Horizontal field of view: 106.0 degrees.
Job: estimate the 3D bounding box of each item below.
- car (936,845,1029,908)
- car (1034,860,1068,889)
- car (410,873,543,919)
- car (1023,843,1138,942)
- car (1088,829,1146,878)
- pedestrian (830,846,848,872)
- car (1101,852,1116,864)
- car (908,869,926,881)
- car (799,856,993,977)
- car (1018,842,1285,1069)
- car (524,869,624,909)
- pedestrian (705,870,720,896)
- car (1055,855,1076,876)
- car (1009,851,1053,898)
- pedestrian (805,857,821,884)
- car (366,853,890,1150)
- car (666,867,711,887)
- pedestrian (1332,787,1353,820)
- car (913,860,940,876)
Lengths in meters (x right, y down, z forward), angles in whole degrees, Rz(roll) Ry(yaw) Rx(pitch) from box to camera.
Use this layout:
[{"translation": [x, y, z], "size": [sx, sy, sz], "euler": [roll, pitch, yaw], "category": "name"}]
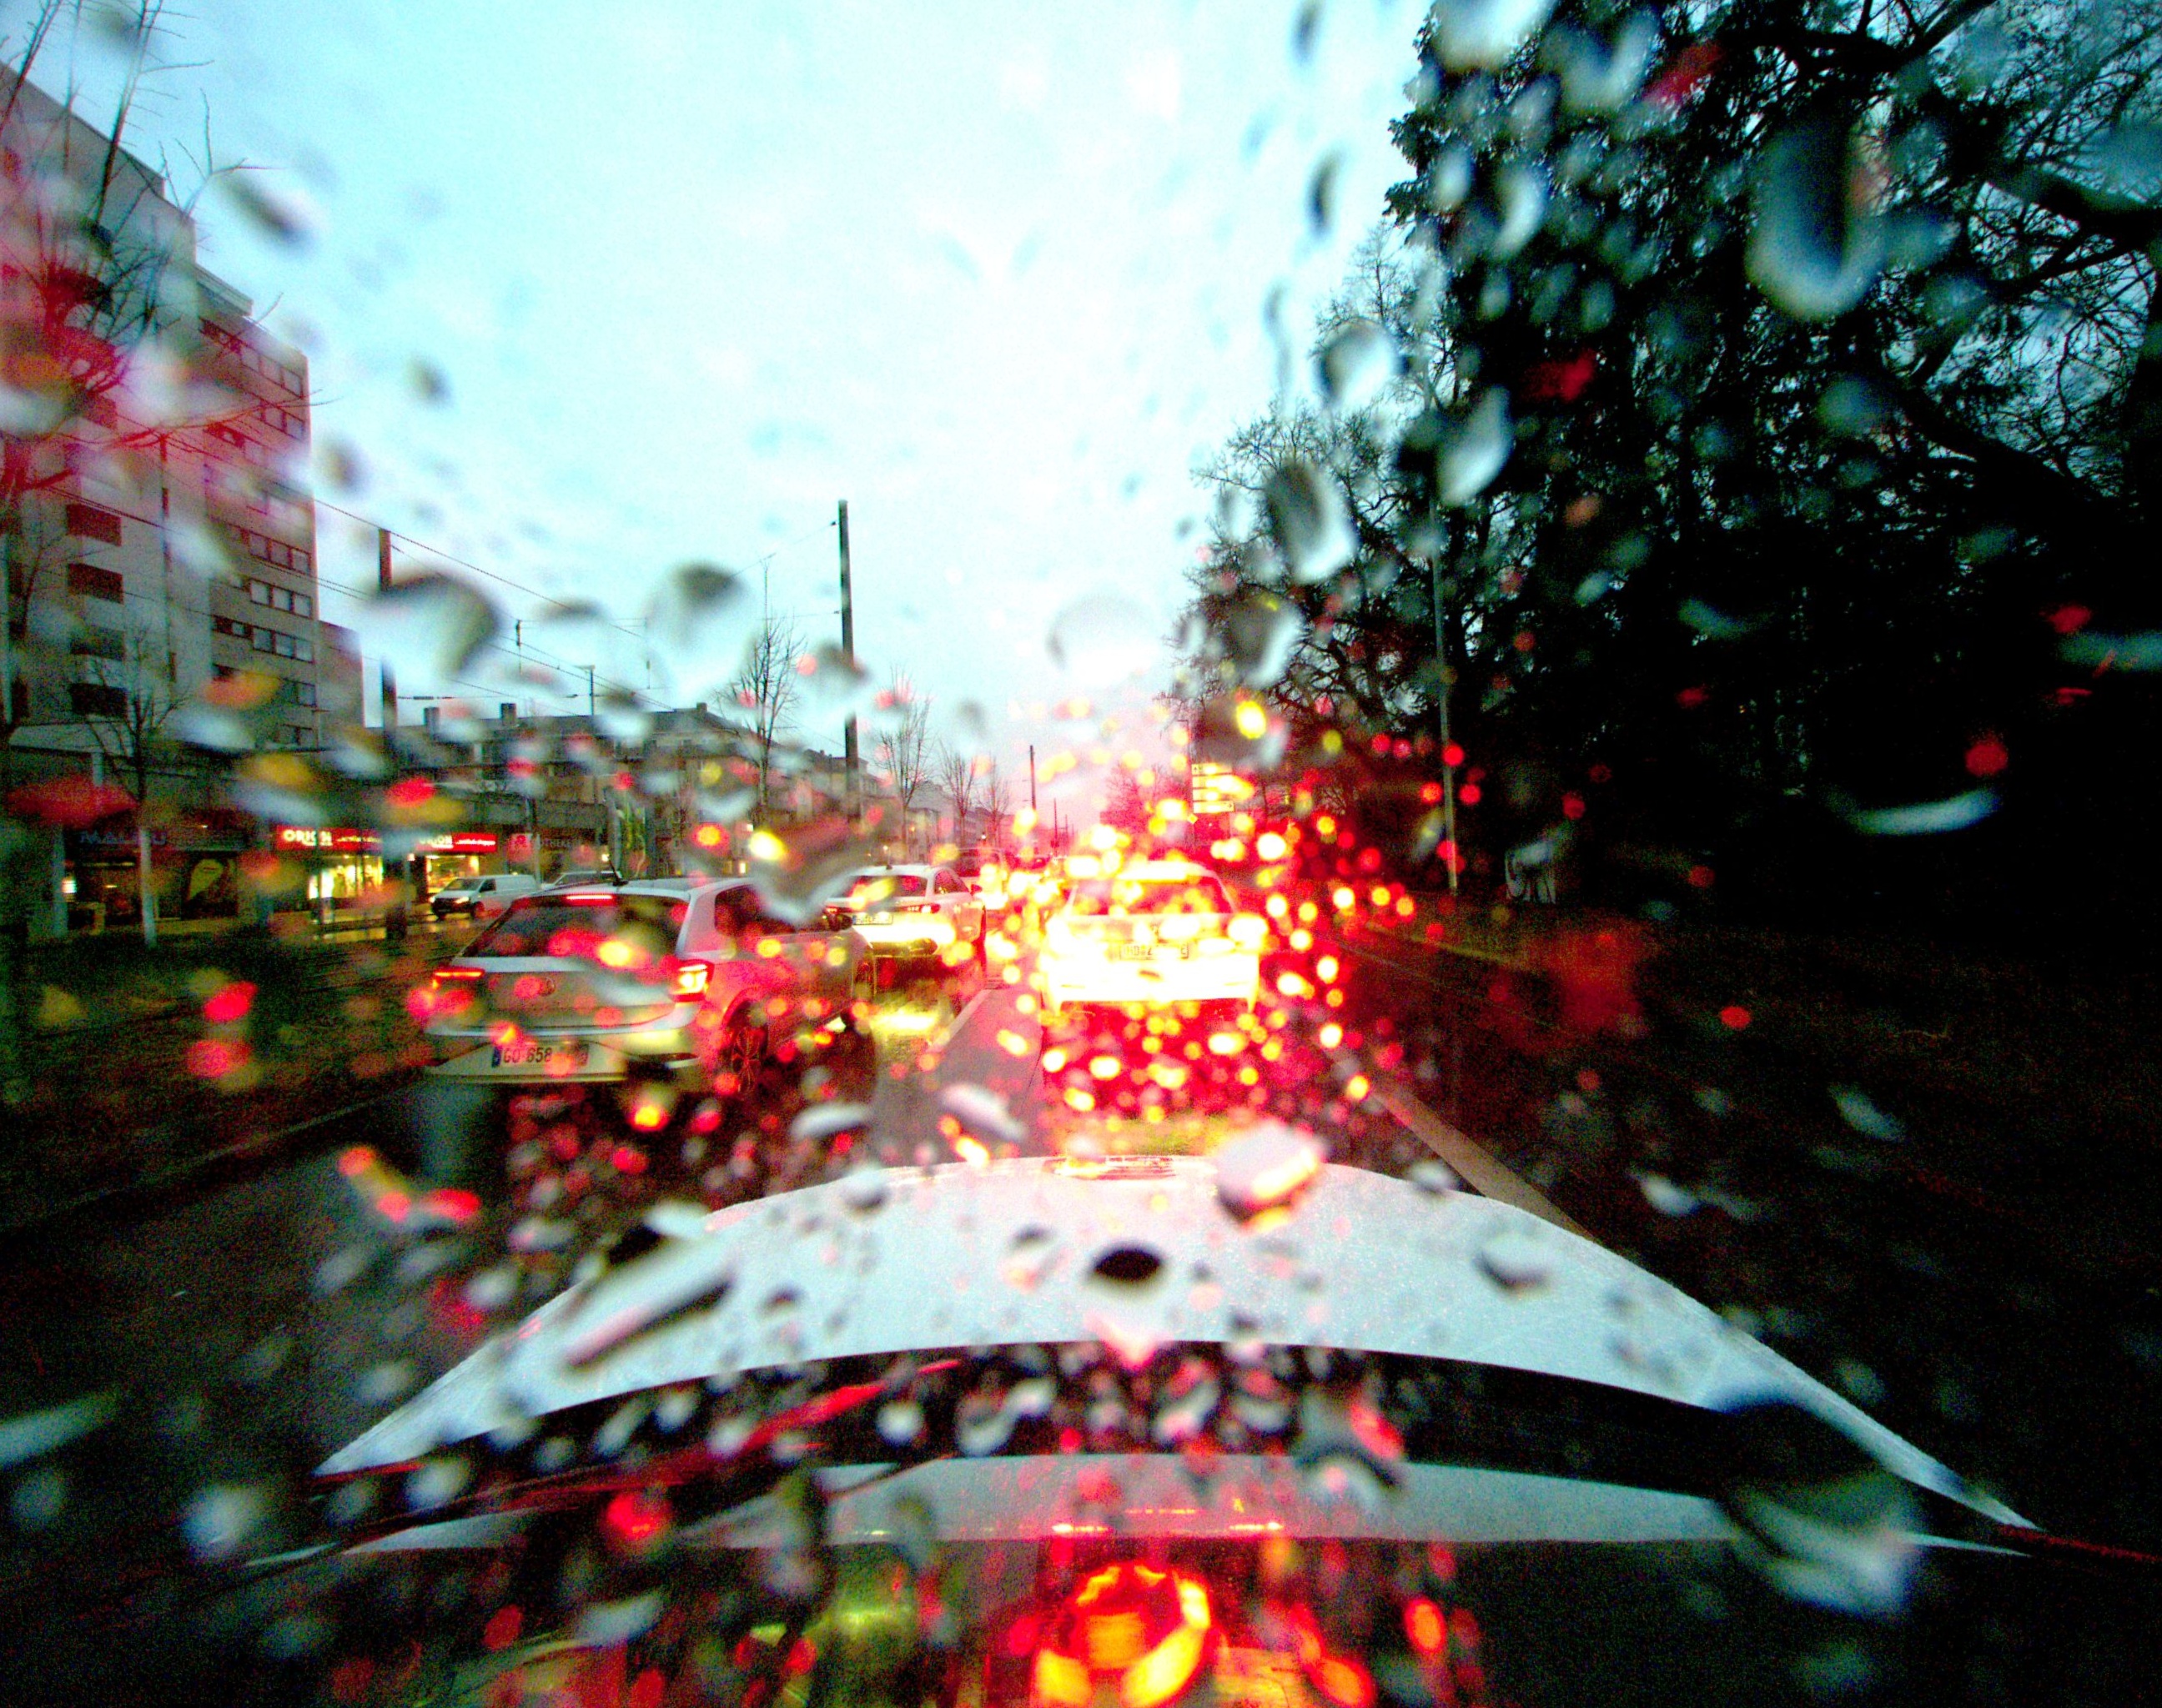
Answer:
[{"translation": [-2.483, 0.533, 21.606], "size": [1.731, 1.419, 4.395], "euler": [-3, 0, 2], "category": "car"}, {"translation": [-1.418, 0.967, 39.072], "size": [1.357, 1.316, 2.718], "euler": [0, -1, 3], "category": "car"}, {"translation": [-29.713, 1.998, 40.319], "size": [1.983, 2.046, 5.575], "euler": [0, -1, 6], "category": "car"}, {"translation": [0.051, 0.624, 15.008], "size": [1.793, 1.511, 3.897], "euler": [-2, 0, 2], "category": "car"}, {"translation": [1.156, -0.019, 26.659], "size": [1.731, 1.419, 3.704], "euler": [-3, 0, 2], "category": "car"}, {"translation": [-19.366, 0.427, 65.152], "size": [1.274, 2.013, 1.000], "euler": [-2, 0, -23], "category": "pedestrian"}, {"translation": [3.436, 0.484, 102.515], "size": [1.731, 1.419, 4.147], "euler": [-3, 0, 2], "category": "car"}, {"translation": [-19.856, 2.530, 98.736], "size": [1.688, 1.277, 4.141], "euler": [-2, 0, -4], "category": "car"}, {"translation": [-2.625, 0.812, 12.759], "size": [1.792, 1.466, 4.587], "euler": [-3, 0, 2], "category": "car"}, {"translation": [0.586, 0.729, 8.331], "size": [1.855, 1.556, 4.940], "euler": [-3, 0, 2], "category": "car"}, {"translation": [-30.672, 2.089, 49.381], "size": [4.859, 2.244, 1.975], "euler": [0, -1, -44], "category": "car"}, {"translation": [-29.209, 2.283, 64.528], "size": [1.010, 2.013, 0.953], "euler": [-2, 0, -27], "category": "pedestrian"}, {"translation": [-1.024, 0.747, 53.828], "size": [1.359, 1.316, 2.715], "euler": [0, -1, -1], "category": "car"}, {"translation": [-1.803, 0.729, 30.061], "size": [1.501, 1.653, 2.843], "euler": [0, -1, -2], "category": "car"}, {"translation": [-20.636, 1.285, 62.755], "size": [1.069, 2.013, 1.003], "euler": [-2, 0, -14], "category": "pedestrian"}, {"translation": [-2.860, 0.776, 6.290], "size": [1.686, 1.533, 4.002], "euler": [-1, 0, 2], "category": "car"}, {"translation": [-40.706, 2.370, 84.481], "size": [3.744, 1.942, 1.838], "euler": [0, -1, -7], "category": "car"}, {"translation": [16.526, -3.173, 51.521], "size": [0.954, 2.013, 1.009], "euler": [-2, 0, 4], "category": "pedestrian"}, {"translation": [-16.140, 1.466, 85.124], "size": [1.987, 1.602, 4.000], "euler": [0, -1, 1], "category": "car"}]
